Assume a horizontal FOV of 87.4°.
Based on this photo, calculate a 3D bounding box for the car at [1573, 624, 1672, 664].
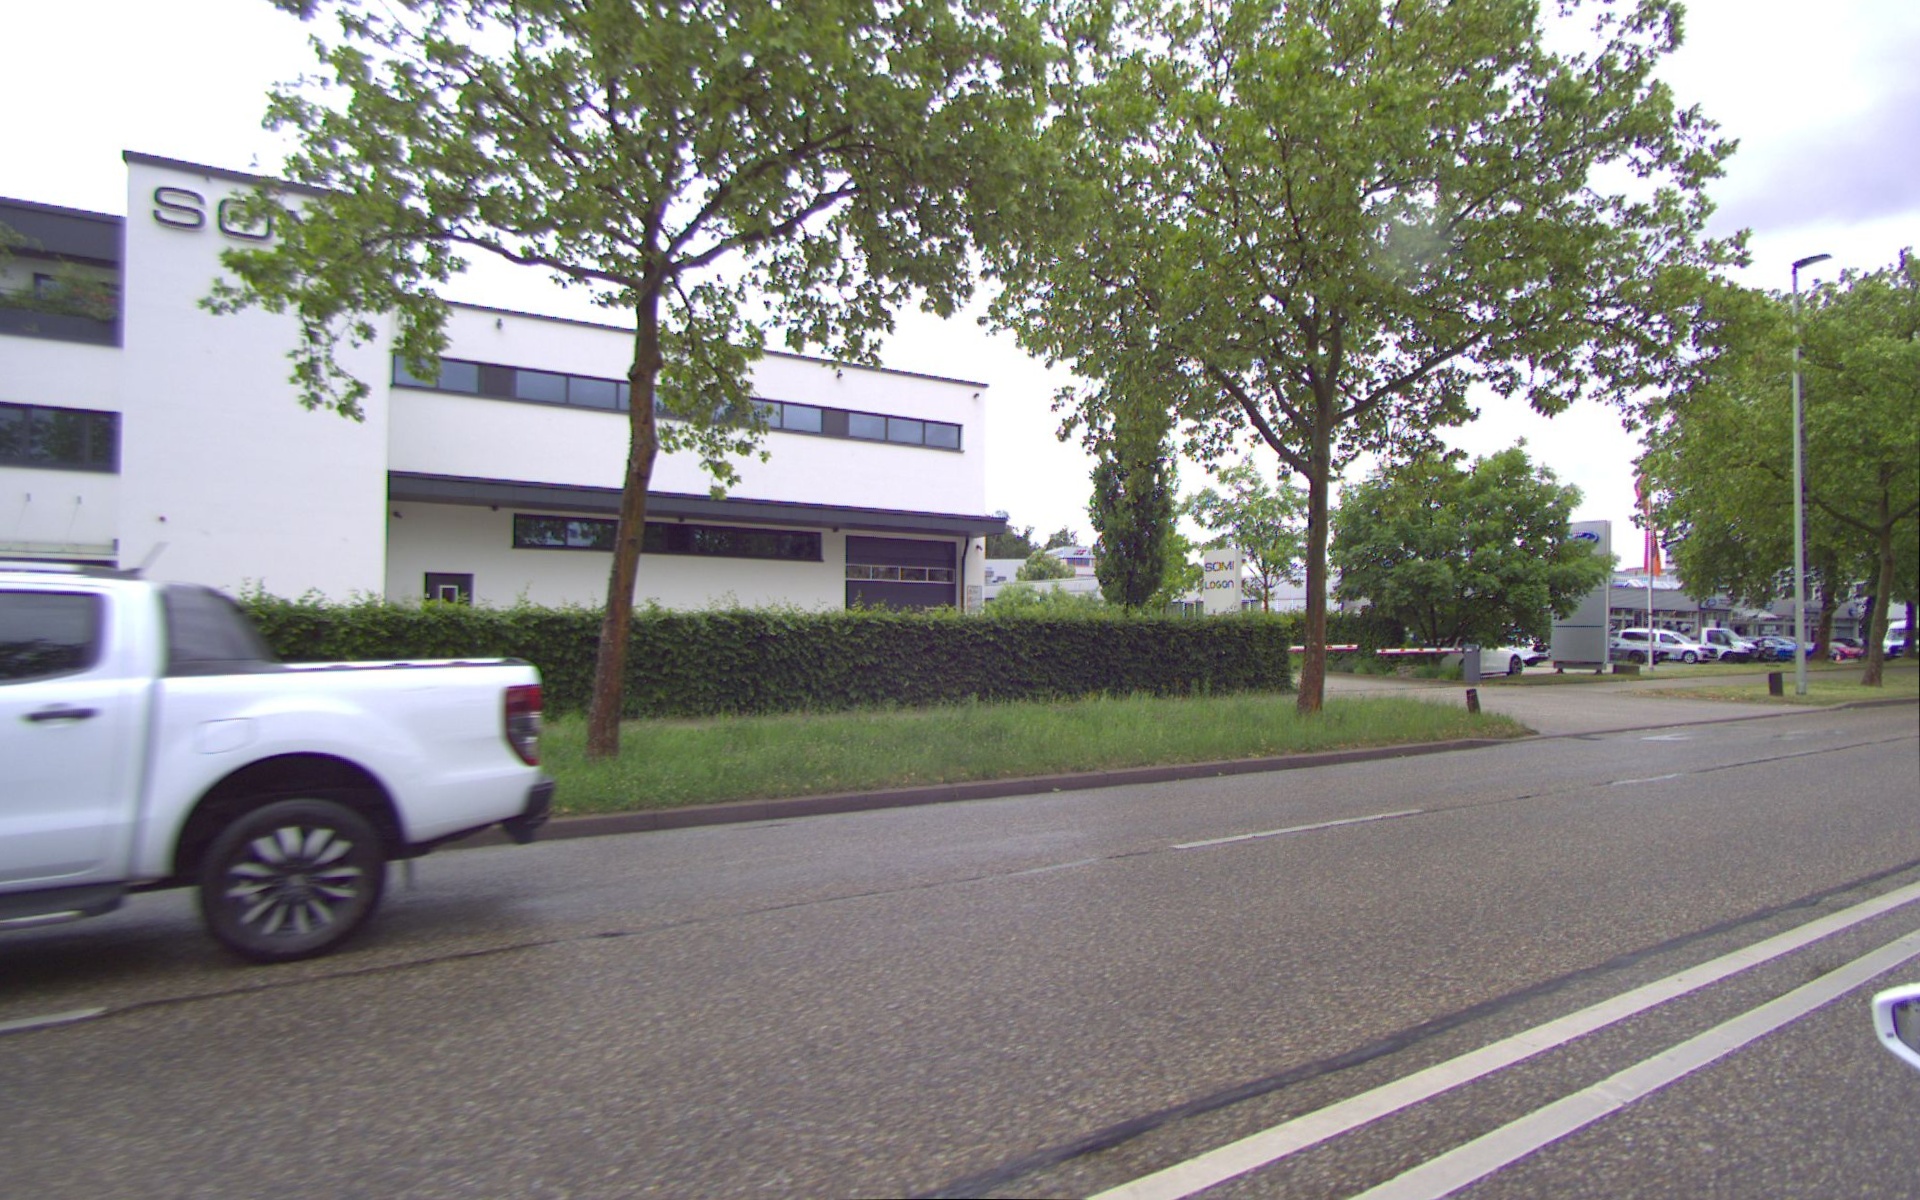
[{"bbox_3d":[34.824,2.293,52.890,1.861,2.040,3.965,1,-2,-32],"label":"car"}]

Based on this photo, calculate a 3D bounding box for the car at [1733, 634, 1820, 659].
[{"bbox_3d":[52.225,2.957,64.343,1.834,1.540,3.988,1,-2,-15],"label":"car"}]

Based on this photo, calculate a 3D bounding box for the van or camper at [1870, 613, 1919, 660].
[{"bbox_3d":[54.019,2.059,56.812,6.326,2.503,1.984,1,0,-30],"label":"van or camper"}]

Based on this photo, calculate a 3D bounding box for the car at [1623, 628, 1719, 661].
[{"bbox_3d":[39.814,2.477,56.321,1.861,1.790,3.965,1,-2,-32],"label":"car"}]

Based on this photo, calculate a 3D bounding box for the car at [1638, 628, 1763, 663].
[{"bbox_3d":[42.845,2.597,58.256,2.390,1.928,5.344,1,-2,-33],"label":"car"}]

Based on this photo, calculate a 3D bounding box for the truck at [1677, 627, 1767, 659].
[{"bbox_3d":[45.579,2.546,60.109,1.983,1.862,3.955,2,-2,-39],"label":"truck"}]

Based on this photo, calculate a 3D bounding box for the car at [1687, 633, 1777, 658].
[{"bbox_3d":[47.692,2.810,62.149,2.008,1.480,3.973,1,-2,-27],"label":"car"}]

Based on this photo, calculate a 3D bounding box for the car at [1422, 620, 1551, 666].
[{"bbox_3d":[24.567,1.983,47.074,2.106,2.040,5.018,1,-2,-32],"label":"car"}]

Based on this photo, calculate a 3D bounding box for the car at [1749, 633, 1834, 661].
[{"bbox_3d":[54.346,3.051,65.756,1.833,1.790,3.990,1,-2,-14],"label":"car"}]

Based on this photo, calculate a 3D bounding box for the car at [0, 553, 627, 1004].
[{"bbox_3d":[-4.524,0.762,4.823,5.282,1.829,1.901,1,-3,-32],"label":"car"}]

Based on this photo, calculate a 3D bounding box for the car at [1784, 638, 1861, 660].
[{"bbox_3d":[62.141,3.524,72.456,1.574,1.487,3.985,1,-2,-18],"label":"car"}]

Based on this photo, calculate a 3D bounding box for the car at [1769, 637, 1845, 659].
[{"bbox_3d":[59.662,3.376,70.831,1.574,1.487,3.893,1,-2,-18],"label":"car"}]

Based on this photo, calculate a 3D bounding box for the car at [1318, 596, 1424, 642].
[{"bbox_3d":[17.868,0.849,43.800,1.939,1.914,3.970,1,-2,-29],"label":"car"}]

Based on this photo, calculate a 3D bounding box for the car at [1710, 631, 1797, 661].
[{"bbox_3d":[49.888,2.863,63.240,1.834,1.790,3.988,1,-2,-15],"label":"car"}]

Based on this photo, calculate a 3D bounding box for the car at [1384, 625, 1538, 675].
[{"bbox_3d":[16.491,1.600,32.994,5.187,1.516,2.107,1,-2,-32],"label":"car"}]
